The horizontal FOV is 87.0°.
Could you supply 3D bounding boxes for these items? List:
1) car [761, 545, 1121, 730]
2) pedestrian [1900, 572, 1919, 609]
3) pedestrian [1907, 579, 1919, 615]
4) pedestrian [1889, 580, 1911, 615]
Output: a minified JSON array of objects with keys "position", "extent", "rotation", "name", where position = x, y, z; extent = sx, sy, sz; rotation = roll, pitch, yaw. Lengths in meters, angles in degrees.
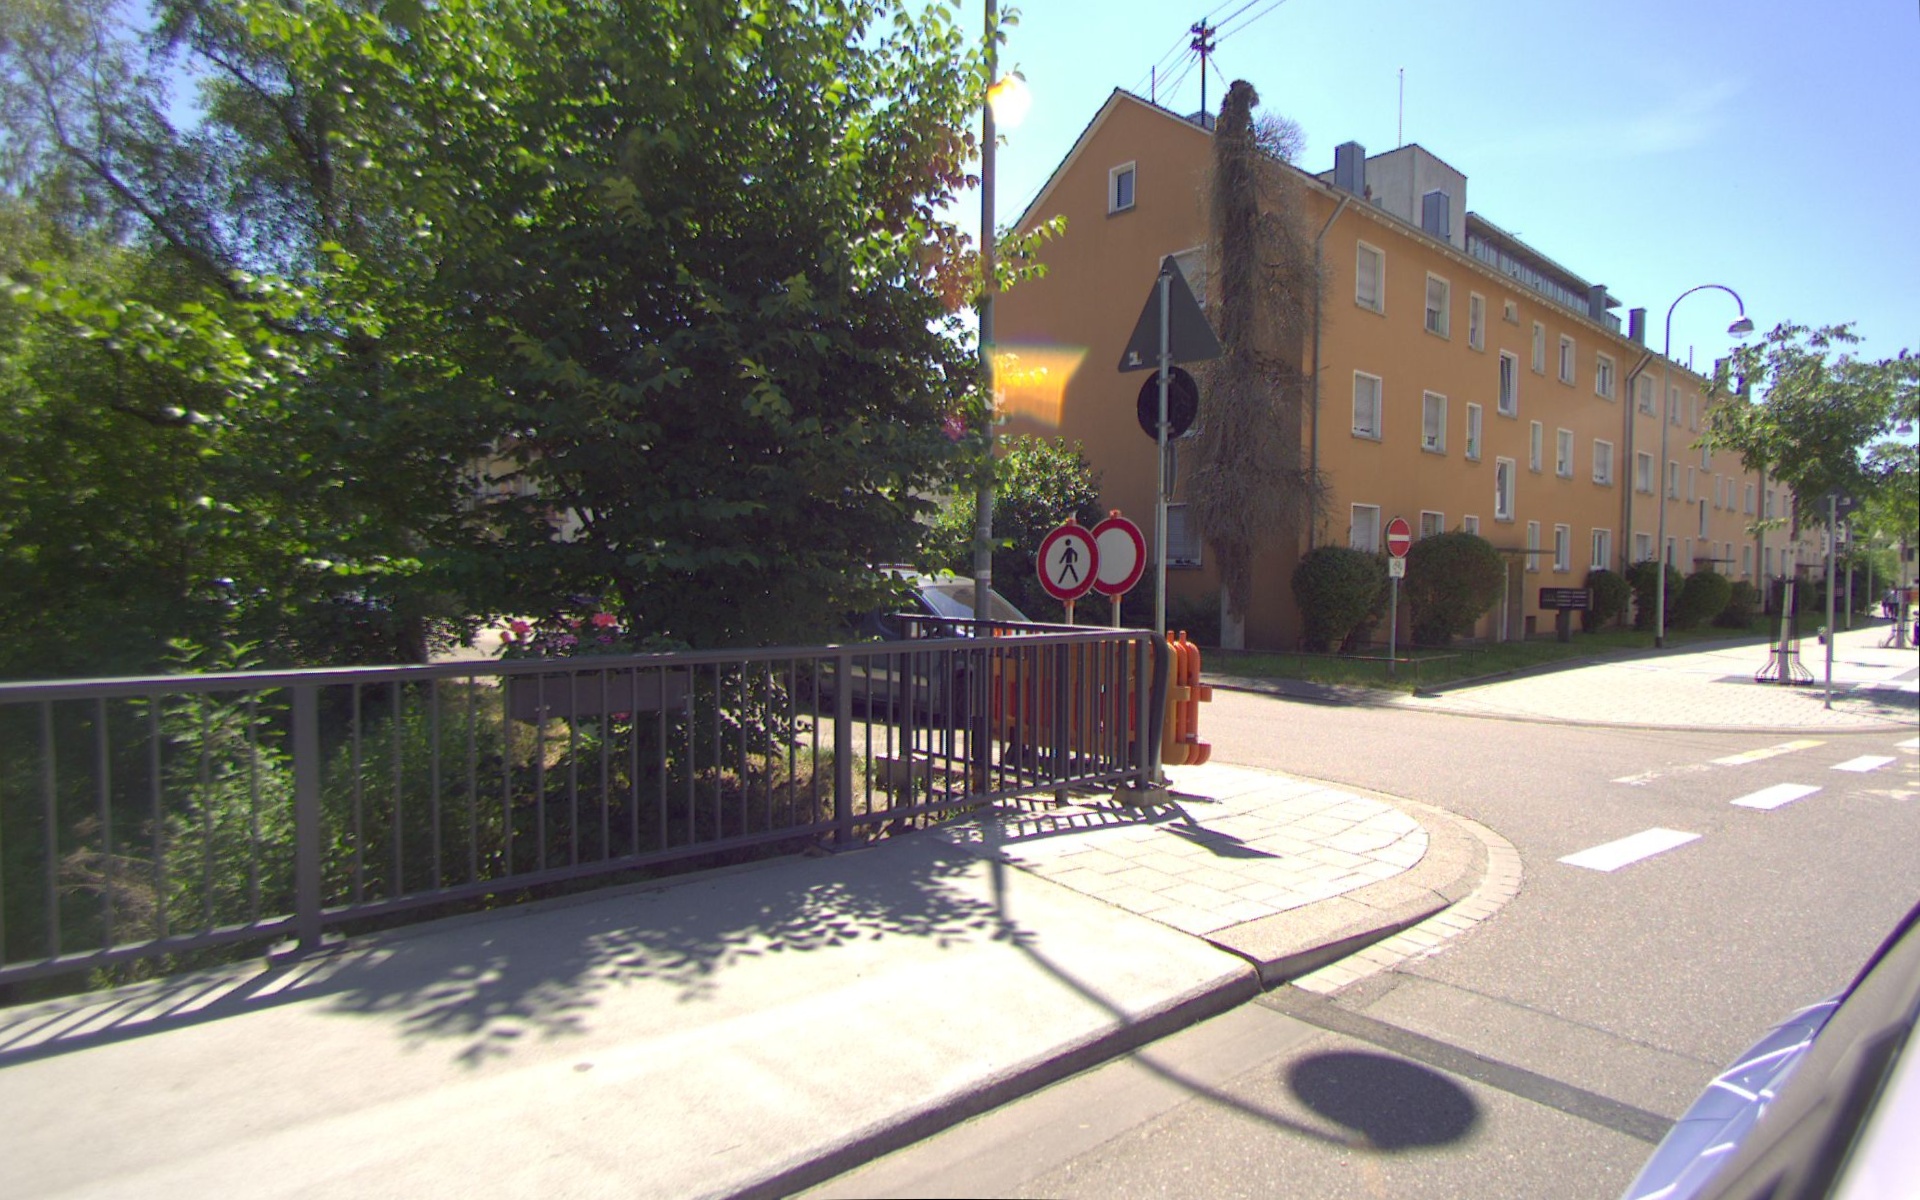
[{"position":[-0.361,0.350,12.267],"extent":[4.333,1.861,1.725],"rotation":[0,1,41],"name":"car"},{"position":[48.517,-0.478,51.584],"extent":[0.821,1.876,0.968],"rotation":[2,1,45],"name":"pedestrian"},{"position":[50.866,-0.158,53.686],"extent":[0.788,1.833,0.990],"rotation":[5,4,45],"name":"pedestrian"},{"position":[50.653,-0.146,54.511],"extent":[0.794,1.800,0.992],"rotation":[2,2,45],"name":"pedestrian"}]
